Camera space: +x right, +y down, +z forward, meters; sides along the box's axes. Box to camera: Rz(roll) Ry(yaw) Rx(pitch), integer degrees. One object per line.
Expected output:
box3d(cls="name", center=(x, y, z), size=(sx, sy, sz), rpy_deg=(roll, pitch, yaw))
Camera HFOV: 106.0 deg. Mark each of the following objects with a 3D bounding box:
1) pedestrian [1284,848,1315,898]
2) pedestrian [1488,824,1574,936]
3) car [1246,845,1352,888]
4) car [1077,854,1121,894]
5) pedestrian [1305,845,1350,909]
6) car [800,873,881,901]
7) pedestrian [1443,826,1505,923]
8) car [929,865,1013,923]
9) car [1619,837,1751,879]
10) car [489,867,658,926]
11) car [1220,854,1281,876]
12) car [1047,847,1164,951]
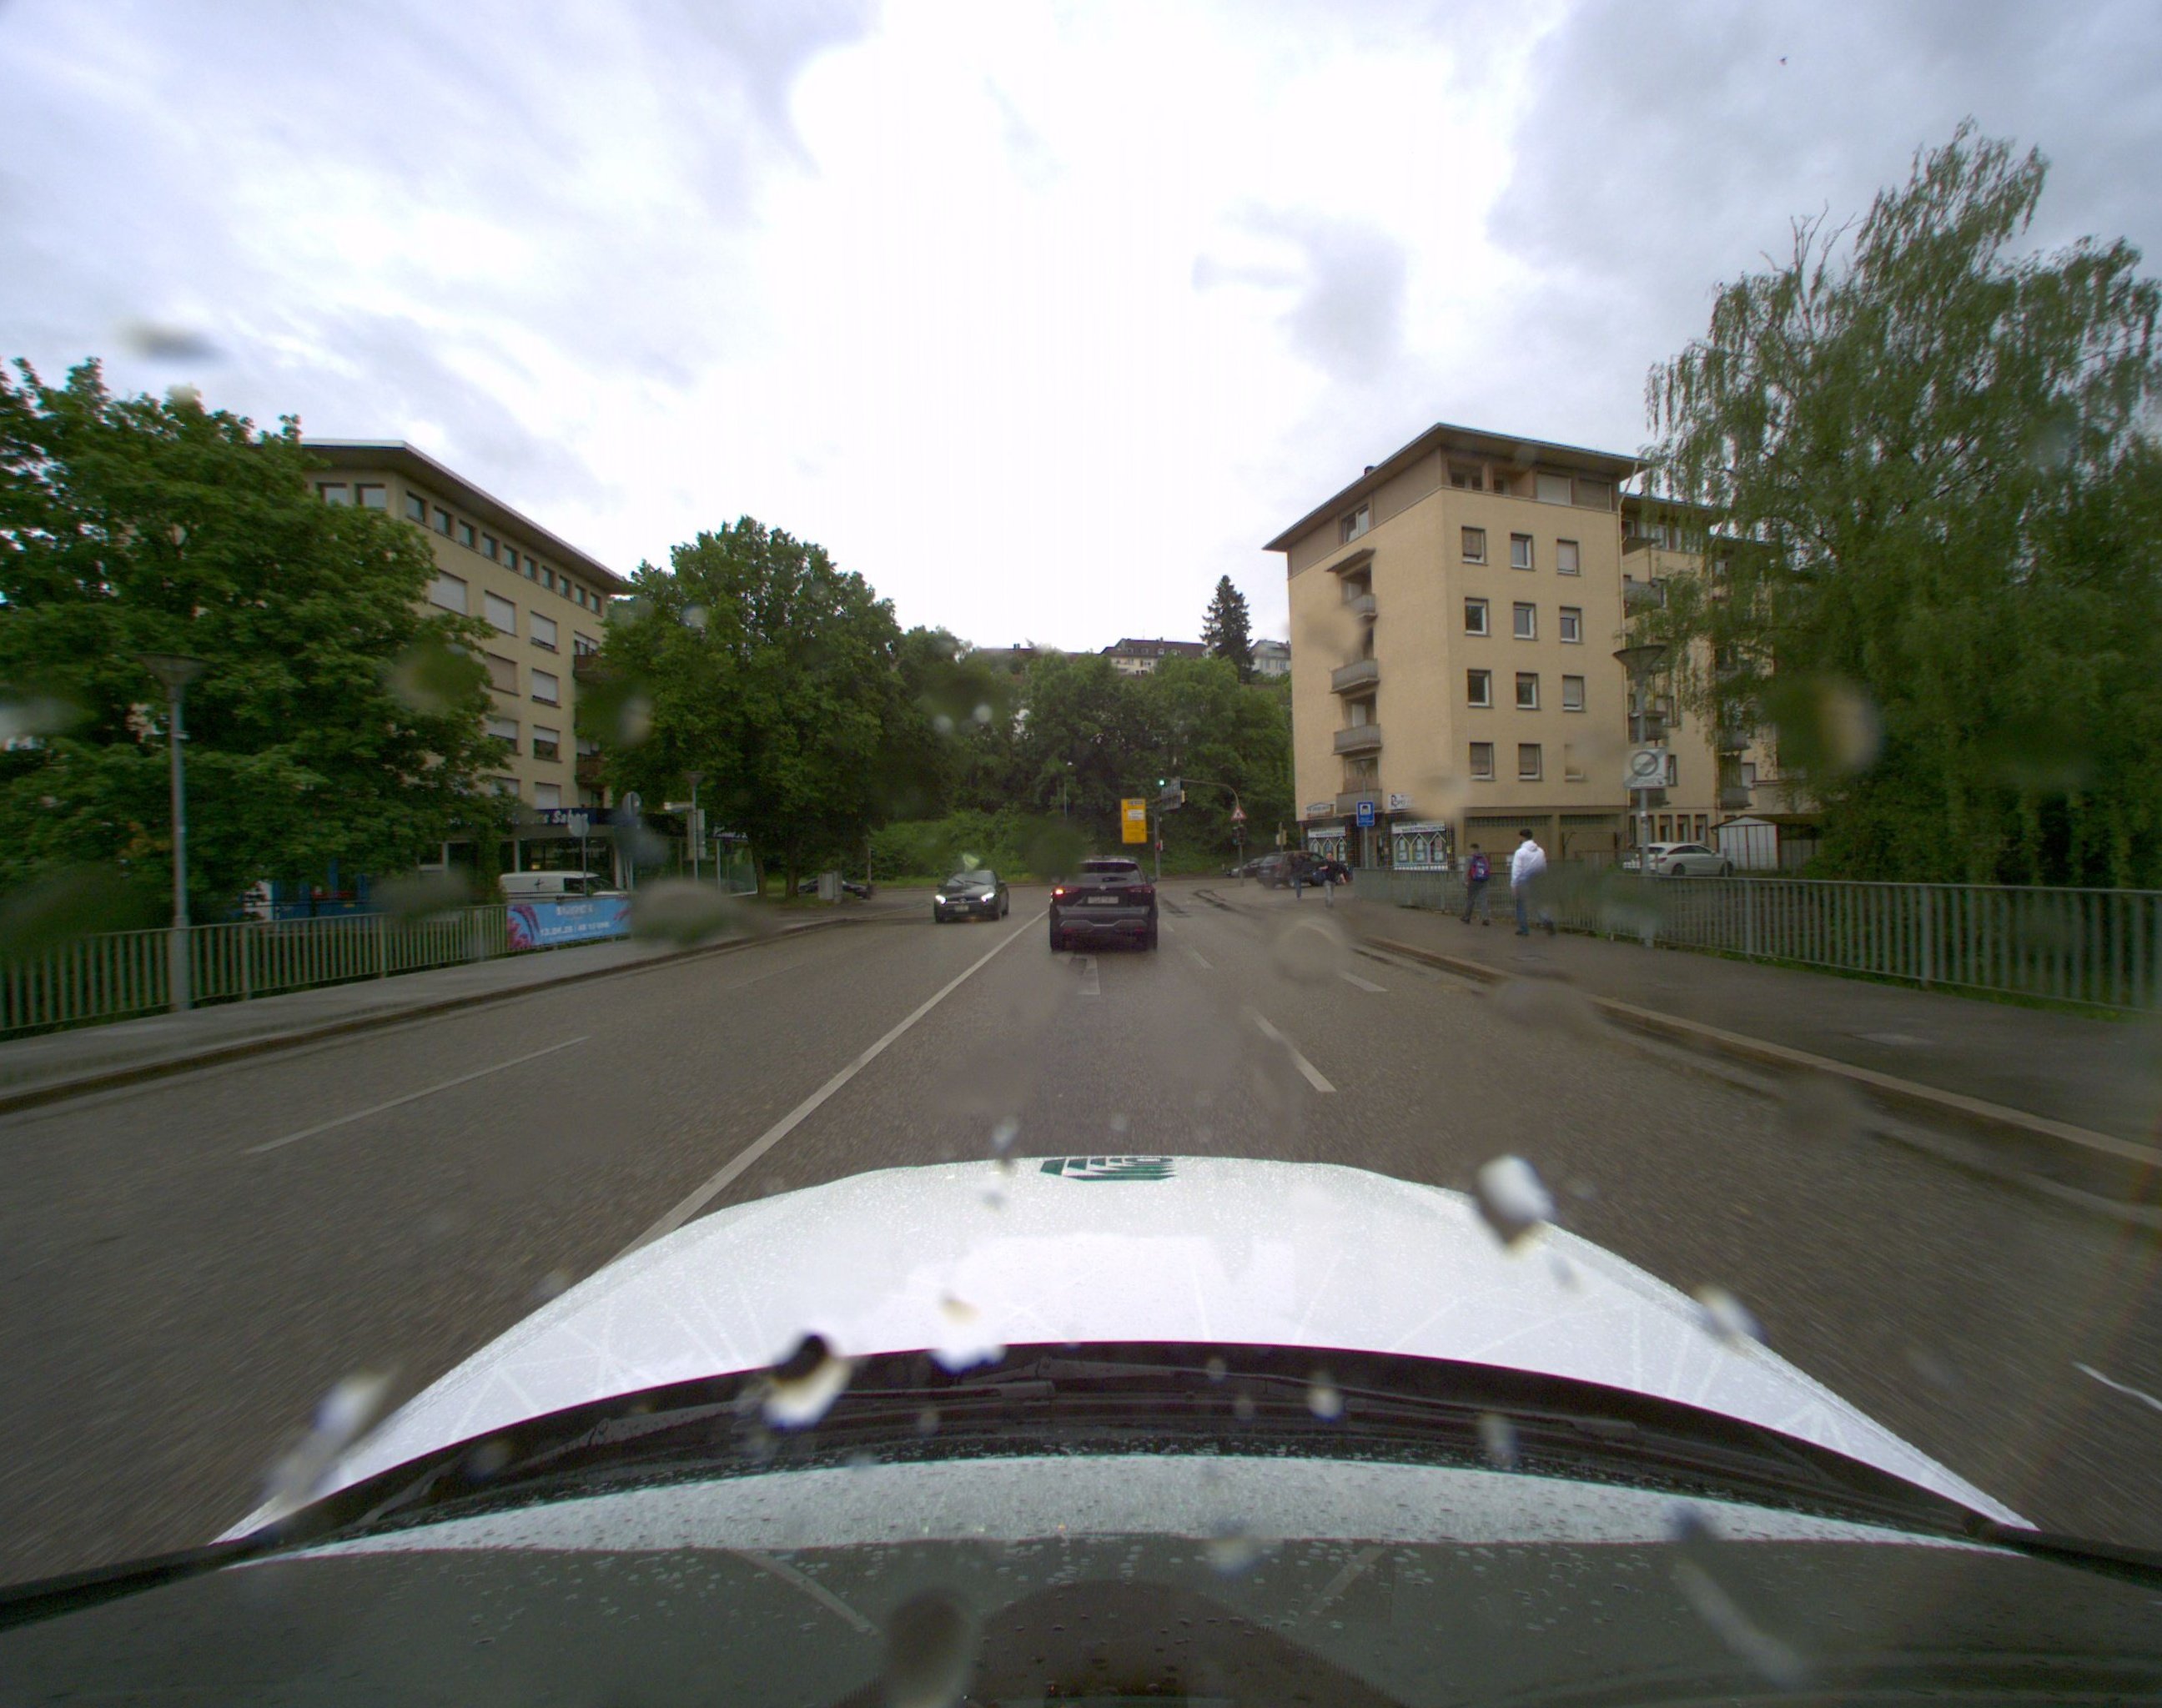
box3d(cls="pedestrian", center=(7.526, 0.643, 28.105), size=(0.758, 1.677, 0.781), rpy_deg=(-4, 0, 1))
box3d(cls="pedestrian", center=(7.422, 0.419, 13.481), size=(0.777, 1.752, 1.061), rpy_deg=(-2, -1, 1))
box3d(cls="car", center=(9.873, 0.566, 36.923), size=(4.388, 1.649, 1.868), rpy_deg=(-3, -1, -24))
box3d(cls="car", center=(0.795, 0.817, 35.297), size=(1.804, 1.603, 4.001), rpy_deg=(0, 0, 1))
box3d(cls="pedestrian", center=(6.476, 0.591, 21.432), size=(0.859, 1.619, 0.840), rpy_deg=(-3, -1, 1))
box3d(cls="car", center=(-14.610, 1.991, 49.451), size=(4.381, 1.459, 1.741), rpy_deg=(-3, -1, 15))
box3d(cls="pedestrian", center=(7.649, 0.390, 15.875), size=(0.758, 1.809, 0.781), rpy_deg=(-3, 0, 1))
box3d(cls="car", center=(-3.109, 1.107, 23.765), size=(1.703, 1.416, 4.095), rpy_deg=(-3, 0, 1))
box3d(cls="car", center=(23.582, 0.122, 31.831), size=(4.447, 1.376, 1.808), rpy_deg=(-2, 2, -15))
box3d(cls="car", center=(-18.357, 1.503, 29.657), size=(4.738, 1.854, 1.995), rpy_deg=(-2, 1, -8))
box3d(cls="car", center=(13.583, 0.892, 65.272), size=(4.325, 1.502, 1.877), rpy_deg=(-3, -1, -10))
box3d(cls="car", center=(0.445, 0.744, 14.978), size=(1.804, 1.603, 4.001), rpy_deg=(-2, -1, 1))
